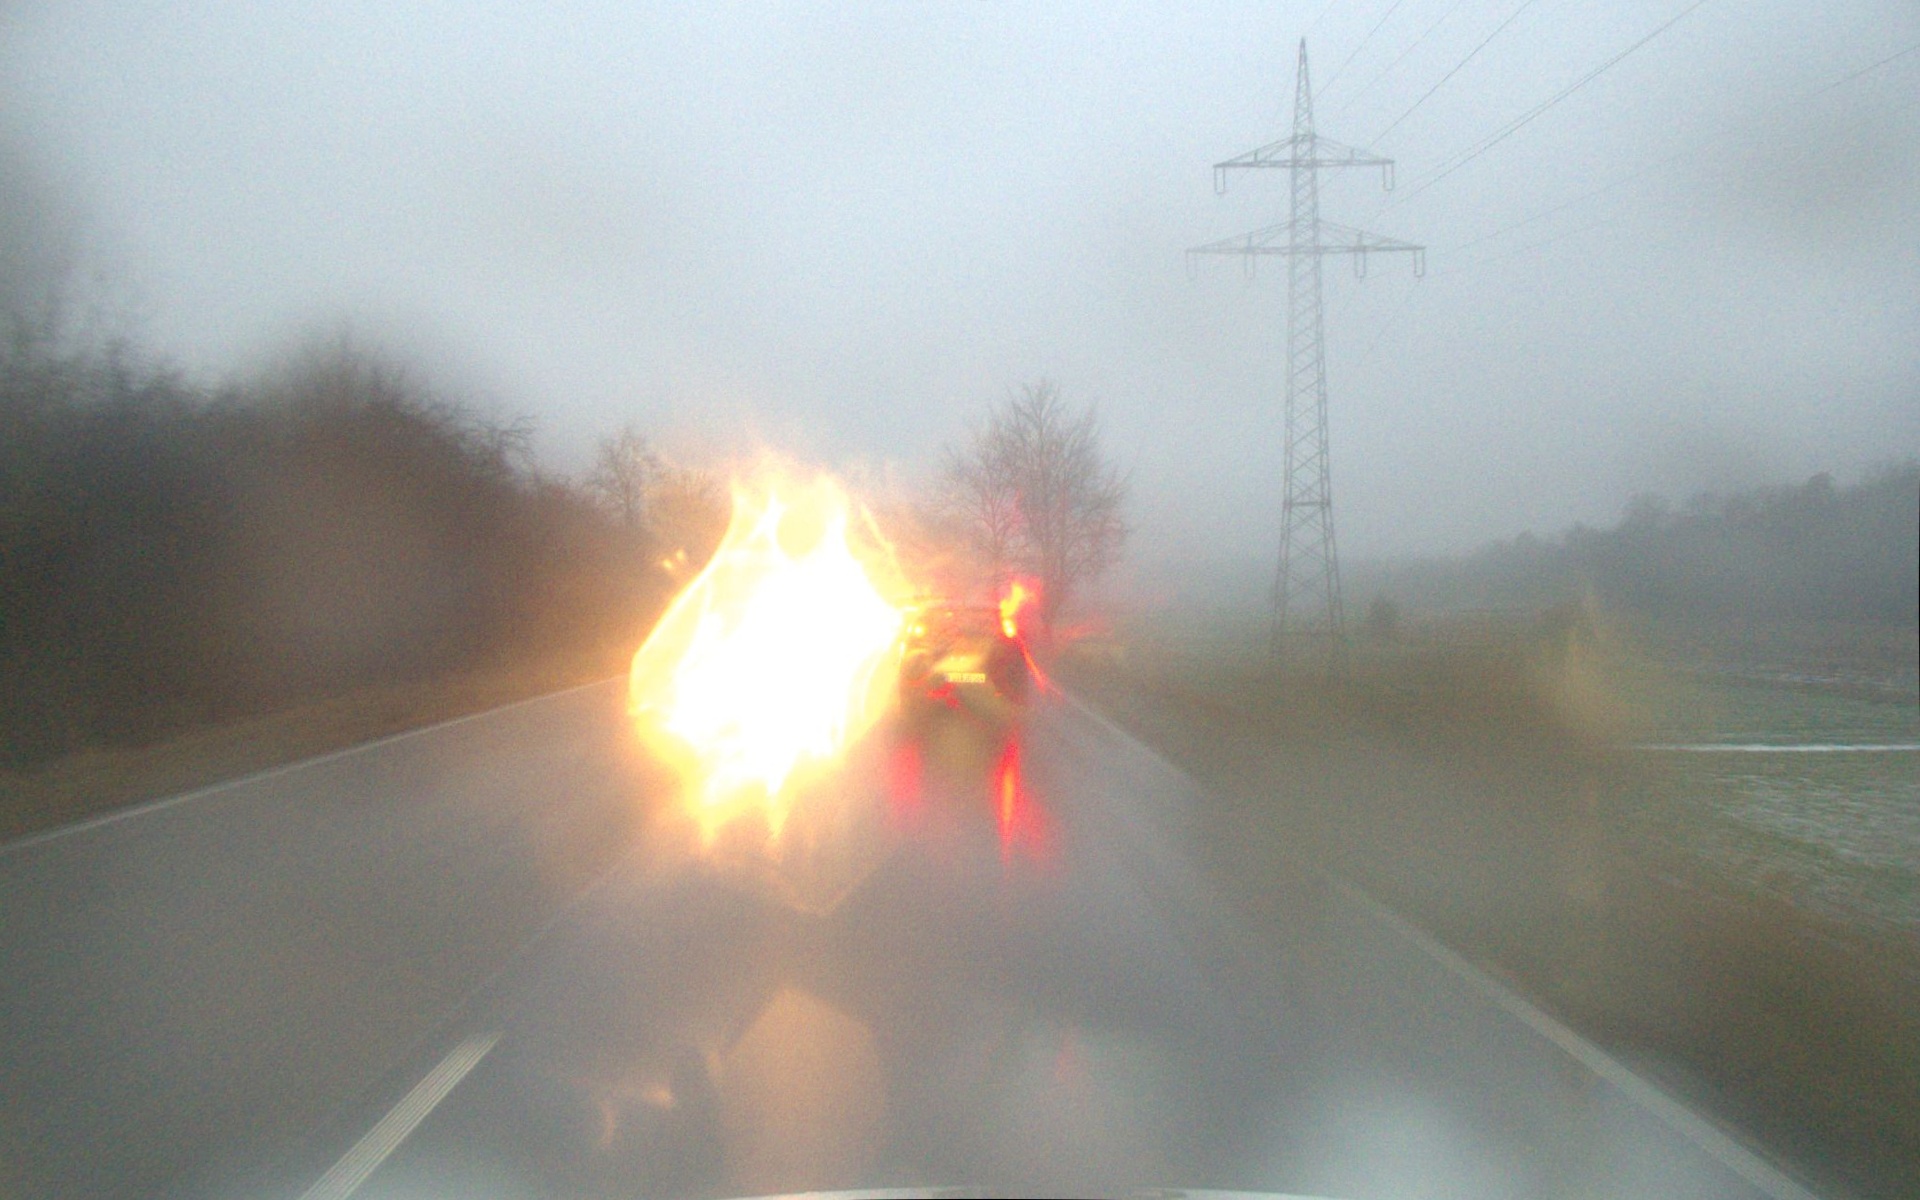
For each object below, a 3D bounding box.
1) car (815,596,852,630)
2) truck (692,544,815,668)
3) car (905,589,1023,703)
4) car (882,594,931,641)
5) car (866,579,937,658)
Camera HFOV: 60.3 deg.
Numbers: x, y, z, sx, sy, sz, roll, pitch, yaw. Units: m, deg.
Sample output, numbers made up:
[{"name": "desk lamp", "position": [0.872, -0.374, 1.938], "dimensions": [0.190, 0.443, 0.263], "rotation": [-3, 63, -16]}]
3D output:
[{"name": "car", "position": [-6.949, 0.700, 91.197], "dimensions": [1.749, 1.781, 4.257], "rotation": [0, 0, -1]}, {"name": "truck", "position": [-4.483, 0.122, 36.715], "dimensions": [2.193, 2.510, 5.372], "rotation": [1, 0, -2]}, {"name": "car", "position": [0.028, 0.577, 22.422], "dimensions": [1.470, 1.423, 3.199], "rotation": [1, 0, -1]}, {"name": "car", "position": [-2.123, 0.648, 64.269], "dimensions": [1.826, 1.729, 4.465], "rotation": [1, 0, -3]}, {"name": "car", "position": [-1.562, 0.475, 45.334], "dimensions": [1.814, 2.049, 3.999], "rotation": [1, 0, -1]}]
